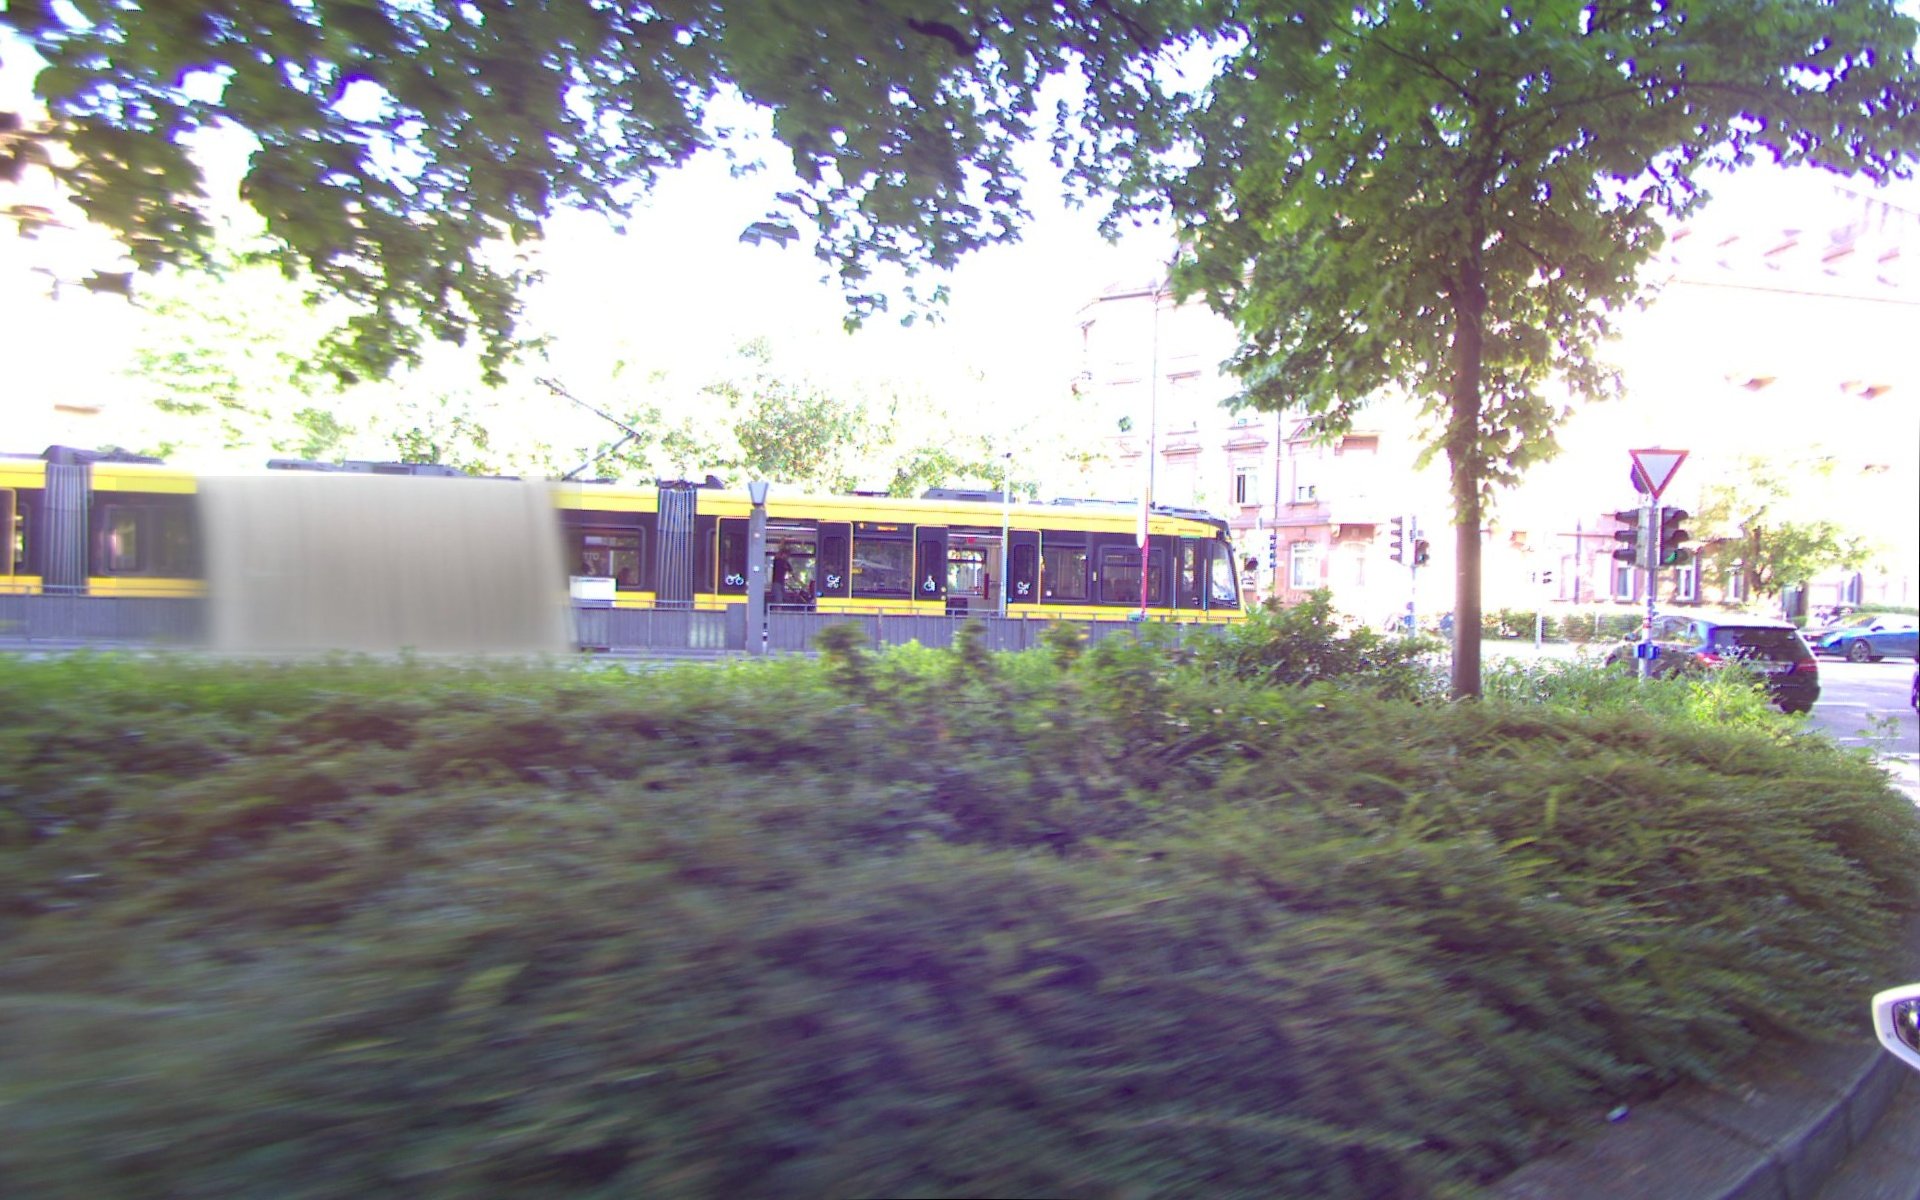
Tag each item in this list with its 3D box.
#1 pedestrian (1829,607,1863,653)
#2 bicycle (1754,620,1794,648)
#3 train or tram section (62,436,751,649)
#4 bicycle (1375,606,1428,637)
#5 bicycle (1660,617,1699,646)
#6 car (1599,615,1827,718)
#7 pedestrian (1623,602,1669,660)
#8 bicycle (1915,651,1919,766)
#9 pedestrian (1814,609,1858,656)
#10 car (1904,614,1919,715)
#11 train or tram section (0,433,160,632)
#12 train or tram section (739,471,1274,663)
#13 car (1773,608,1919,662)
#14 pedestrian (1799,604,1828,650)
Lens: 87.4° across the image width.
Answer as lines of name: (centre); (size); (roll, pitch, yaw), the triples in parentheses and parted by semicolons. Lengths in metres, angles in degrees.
pedestrian: (34.007, 1.138, 38.562); (0.624, 1.738, 0.664); (2, 1, 4)
bicycle: (32.171, 1.343, 39.695); (1.210, 1.052, 0.443); (2, 2, -4)
train or tram section: (-10.698, -1.028, 20.882); (12.196, 3.635, 2.781); (2, 1, -10)
bicycle: (18.253, 0.871, 41.528); (1.929, 1.122, 0.443); (4, 2, 25)
bicycle: (28.229, 1.232, 39.405); (1.210, 1.122, 0.443); (1, 2, -3)
car: (12.823, 1.044, 17.417); (1.759, 1.562, 3.862); (0, -1, 13)
pedestrian: (20.460, 0.903, 29.956); (0.720, 1.657, 0.894); (0, 4, -40)
bicycle: (10.288, 1.166, 10.131); (0.800, 1.200, 2.216); (2, 1, 41)
pedestrian: (32.879, 1.202, 37.709); (0.880, 1.688, 0.712); (2, 4, 8)
car: (15.470, 1.076, 13.983); (1.939, 1.606, 4.472); (3, 1, 24)
train or tram section: (-22.855, -1.426, 18.805); (12.453, 3.605, 2.769); (2, 1, -10)
train or tram section: (1.025, -0.636, 22.892); (11.588, 3.668, 2.795); (2, 1, -10)
car: (30.269, 1.172, 33.901); (4.330, 1.672, 1.945); (2, 1, -9)
pedestrian: (33.211, 1.051, 39.106); (0.624, 1.738, 0.521); (2, 1, 4)
